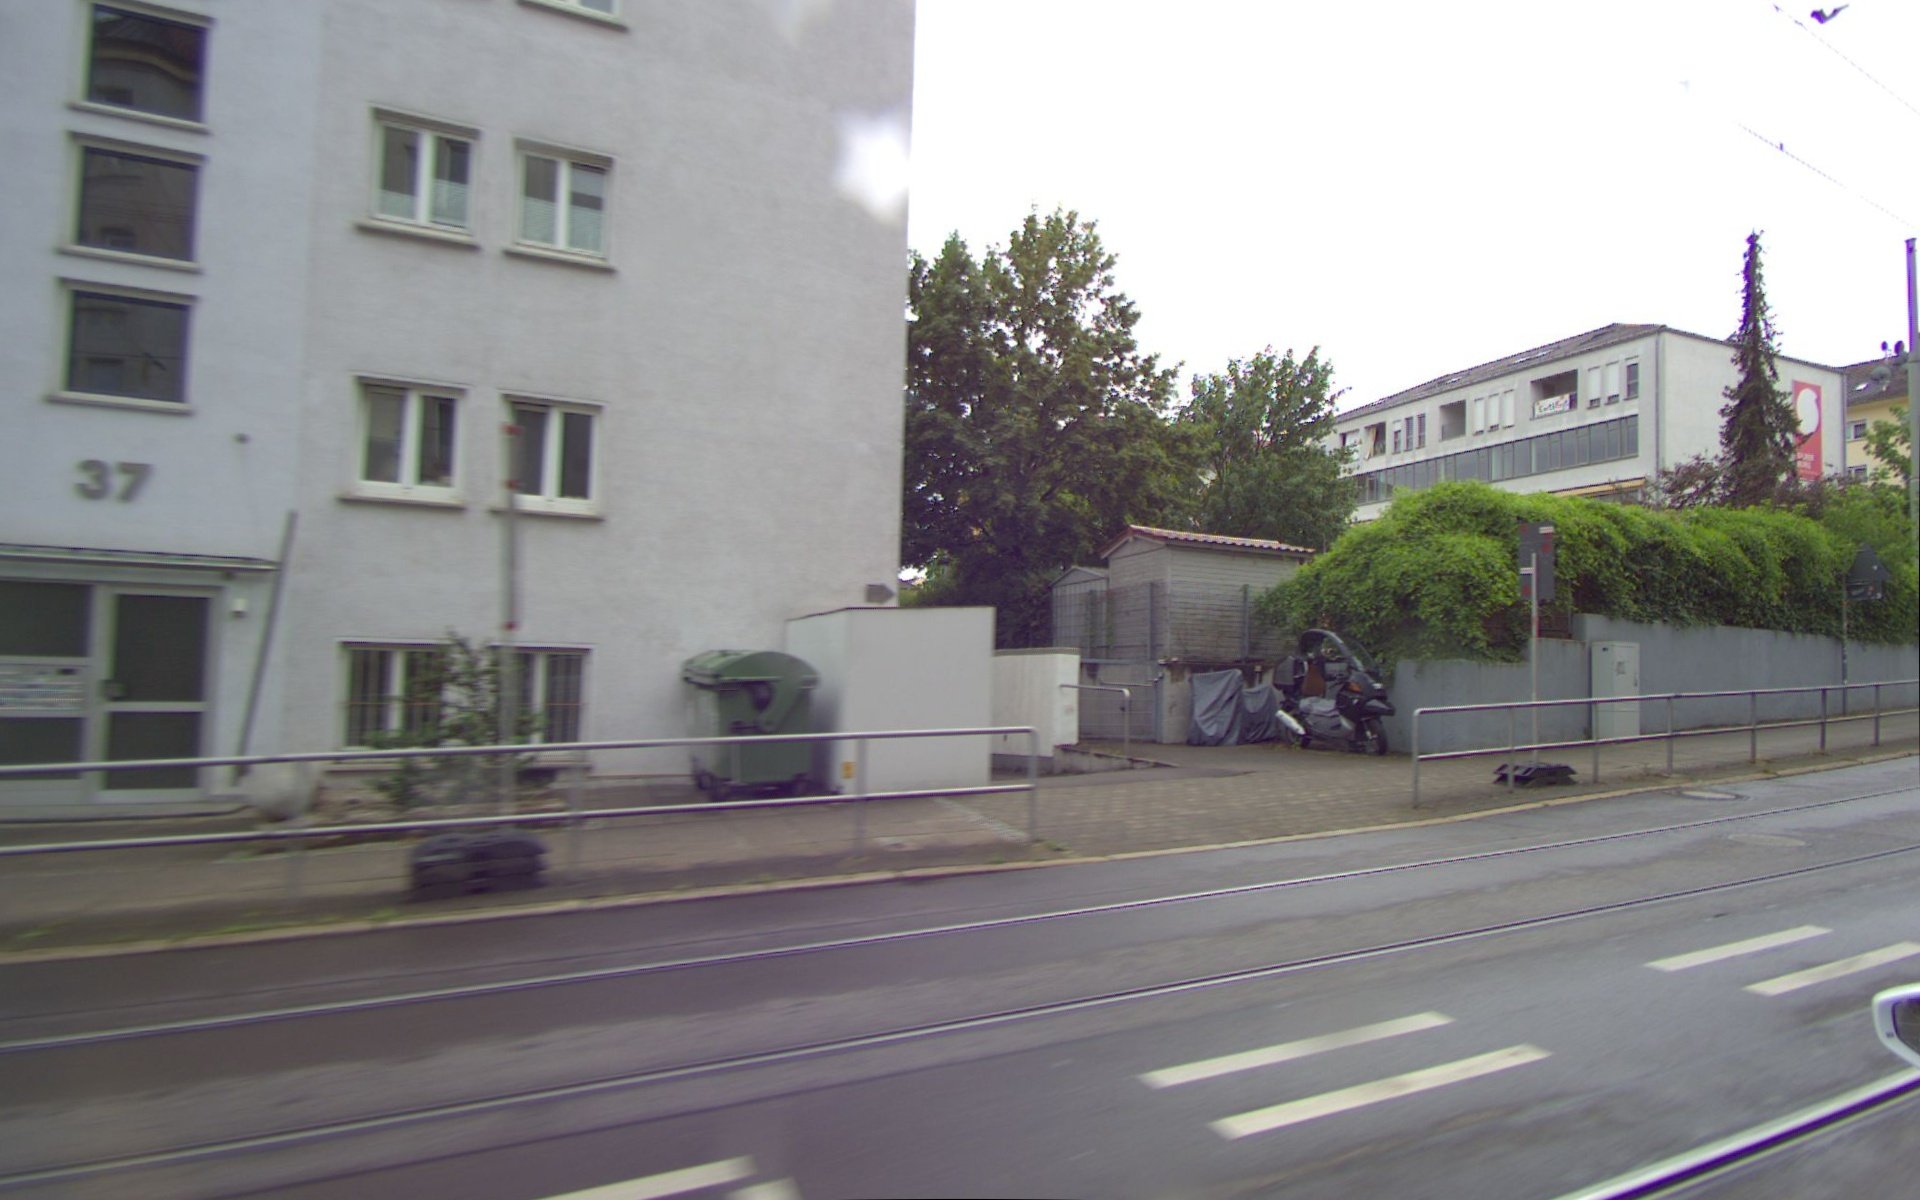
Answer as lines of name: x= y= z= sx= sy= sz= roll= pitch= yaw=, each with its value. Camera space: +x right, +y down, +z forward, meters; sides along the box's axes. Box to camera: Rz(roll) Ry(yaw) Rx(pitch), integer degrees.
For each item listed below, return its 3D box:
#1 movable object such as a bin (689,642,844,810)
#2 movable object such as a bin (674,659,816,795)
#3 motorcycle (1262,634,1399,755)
movable object such as a bin: x=-1.934 y=1.196 z=9.901 sx=1.271 sy=1.480 sz=1.184 roll=-1 pitch=-4 yaw=-22
movable object such as a bin: x=-2.427 y=1.370 z=11.210 sx=1.306 sy=1.353 sz=1.366 roll=-1 pitch=-4 yaw=-22
motorcycle: x=5.345 y=1.355 z=14.617 sx=0.588 sy=1.621 sz=1.916 roll=-1 pitch=-4 yaw=-26
